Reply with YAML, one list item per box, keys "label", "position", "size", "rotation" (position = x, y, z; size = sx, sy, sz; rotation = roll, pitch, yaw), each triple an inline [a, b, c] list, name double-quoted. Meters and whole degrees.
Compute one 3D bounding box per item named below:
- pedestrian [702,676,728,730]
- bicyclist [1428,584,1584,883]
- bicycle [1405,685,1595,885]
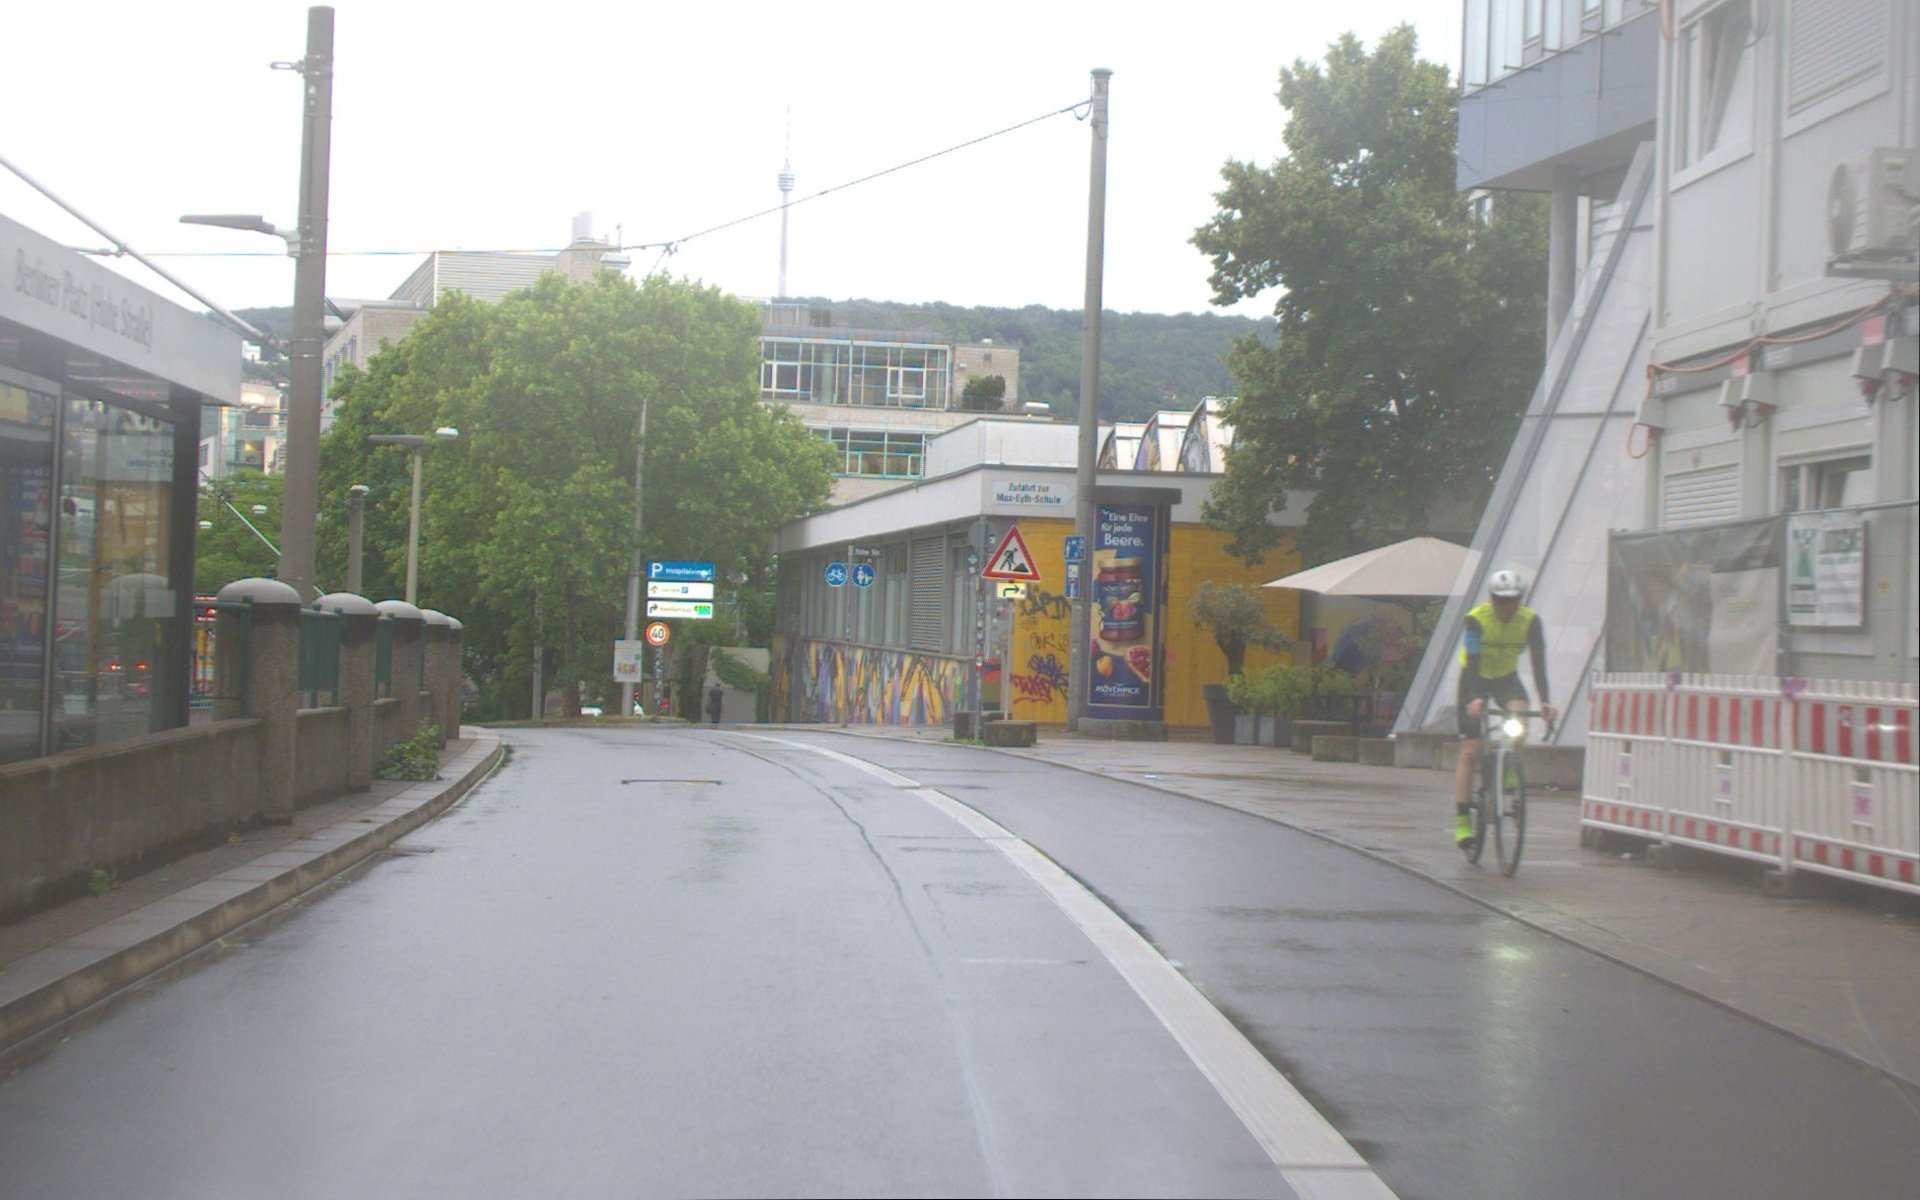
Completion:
- label: "pedestrian"
  position: [-8.526, 3.576, 119.669]
  size: [0.806, 1.858, 1.056]
  rotation: [0, -2, -10]
- label: "bicyclist"
  position: [3.092, 0.747, 19.514]
  size: [0.661, 1.633, 0.793]
  rotation: [-3, -1, -2]
- label: "bicycle"
  position: [3.068, 1.029, 19.706]
  size: [0.661, 1.049, 2.057]
  rotation: [-1, -1, -2]
